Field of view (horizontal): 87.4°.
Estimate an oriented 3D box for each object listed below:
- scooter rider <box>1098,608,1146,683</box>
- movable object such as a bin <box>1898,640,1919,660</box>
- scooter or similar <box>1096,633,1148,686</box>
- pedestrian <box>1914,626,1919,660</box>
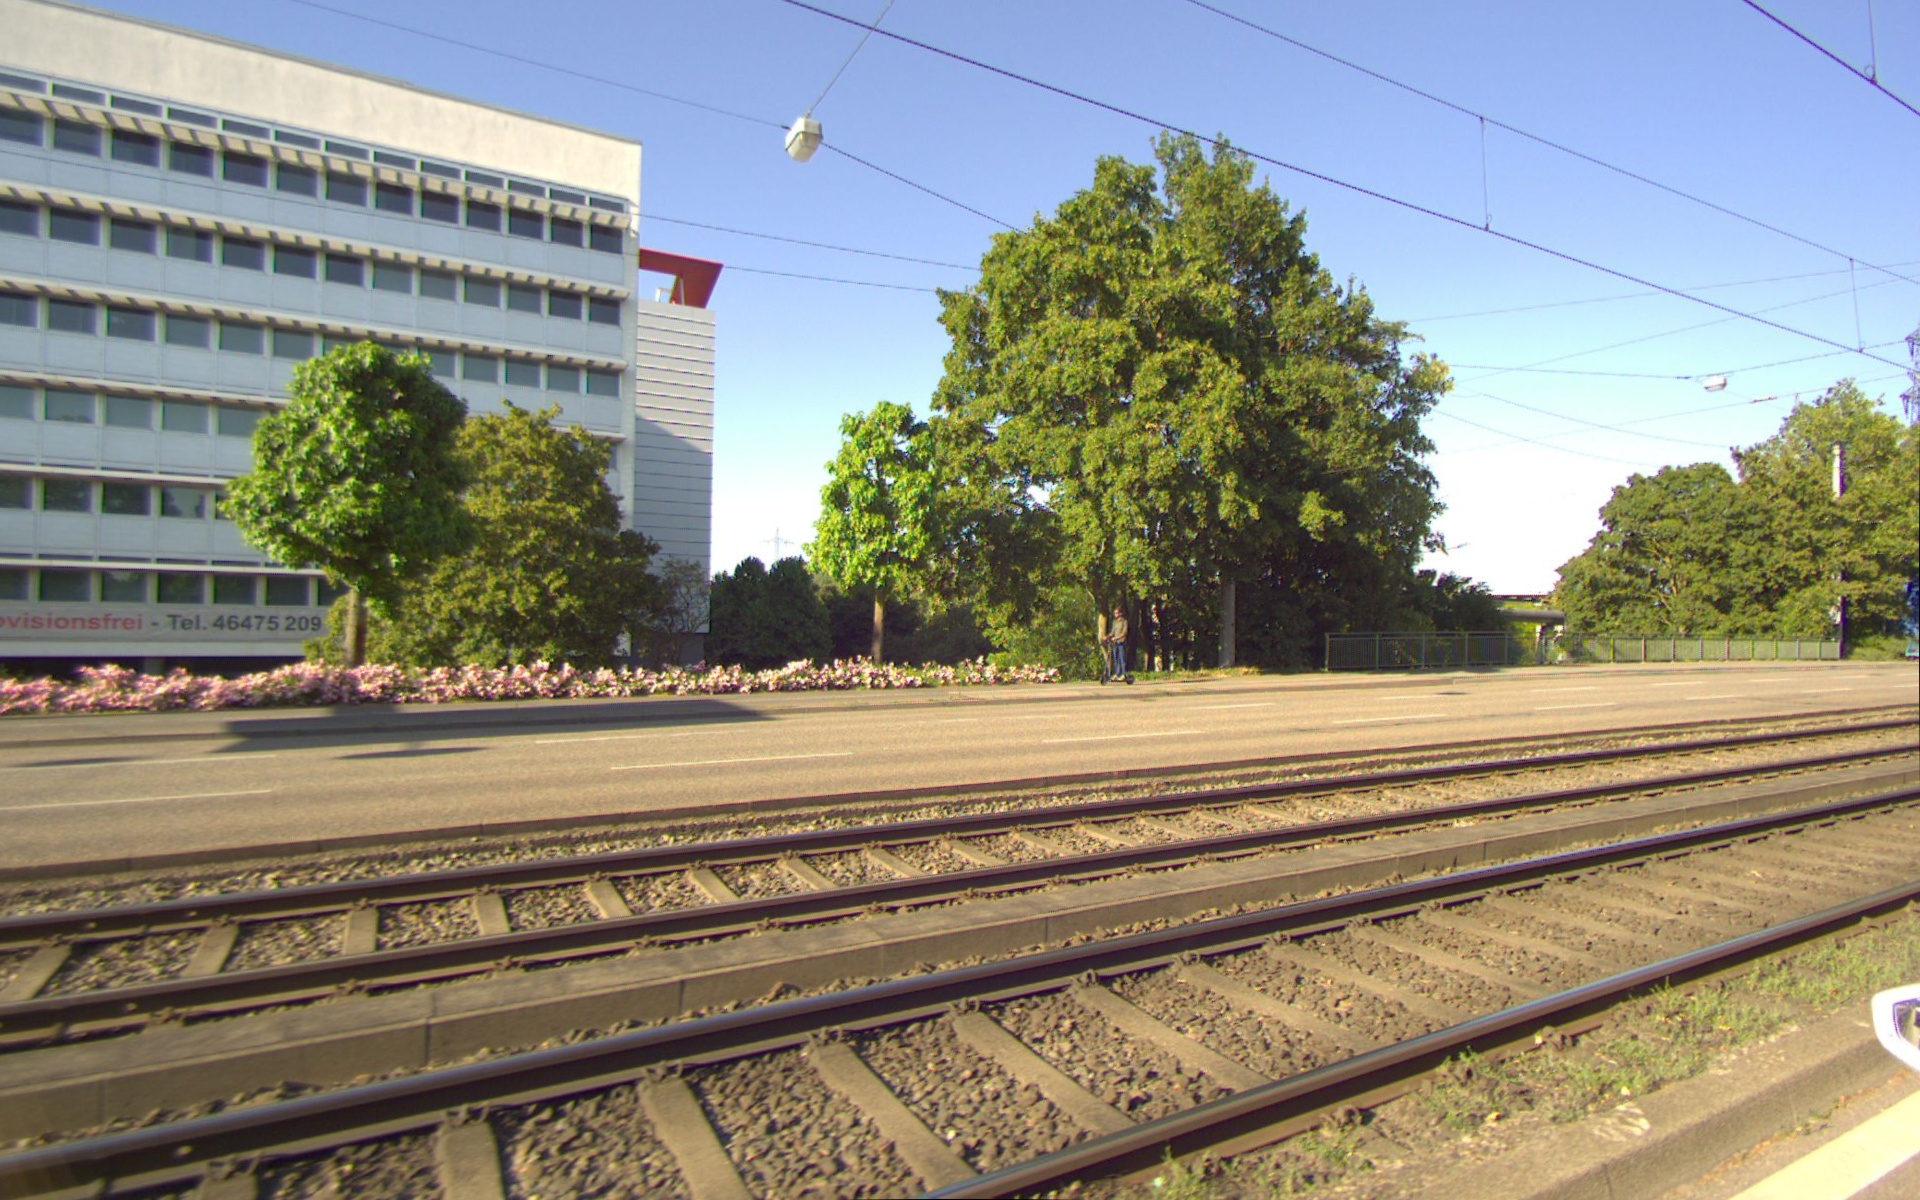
[{"bbox_3d":[4.122,1.142,25.566,0.986,1.873,0.680,1,-1,-23],"label":"scooter rider"},{"bbox_3d":[51.011,2.680,53.695,1.081,0.974,0.725,3,1,-9],"label":"movable object such as a bin"},{"bbox_3d":[4.119,1.495,25.525,1.245,1.313,0.470,1,-1,-24],"label":"scooter or similar"},{"bbox_3d":[51.962,2.327,53.842,0.820,1.780,0.725,3,1,-9],"label":"pedestrian"}]
